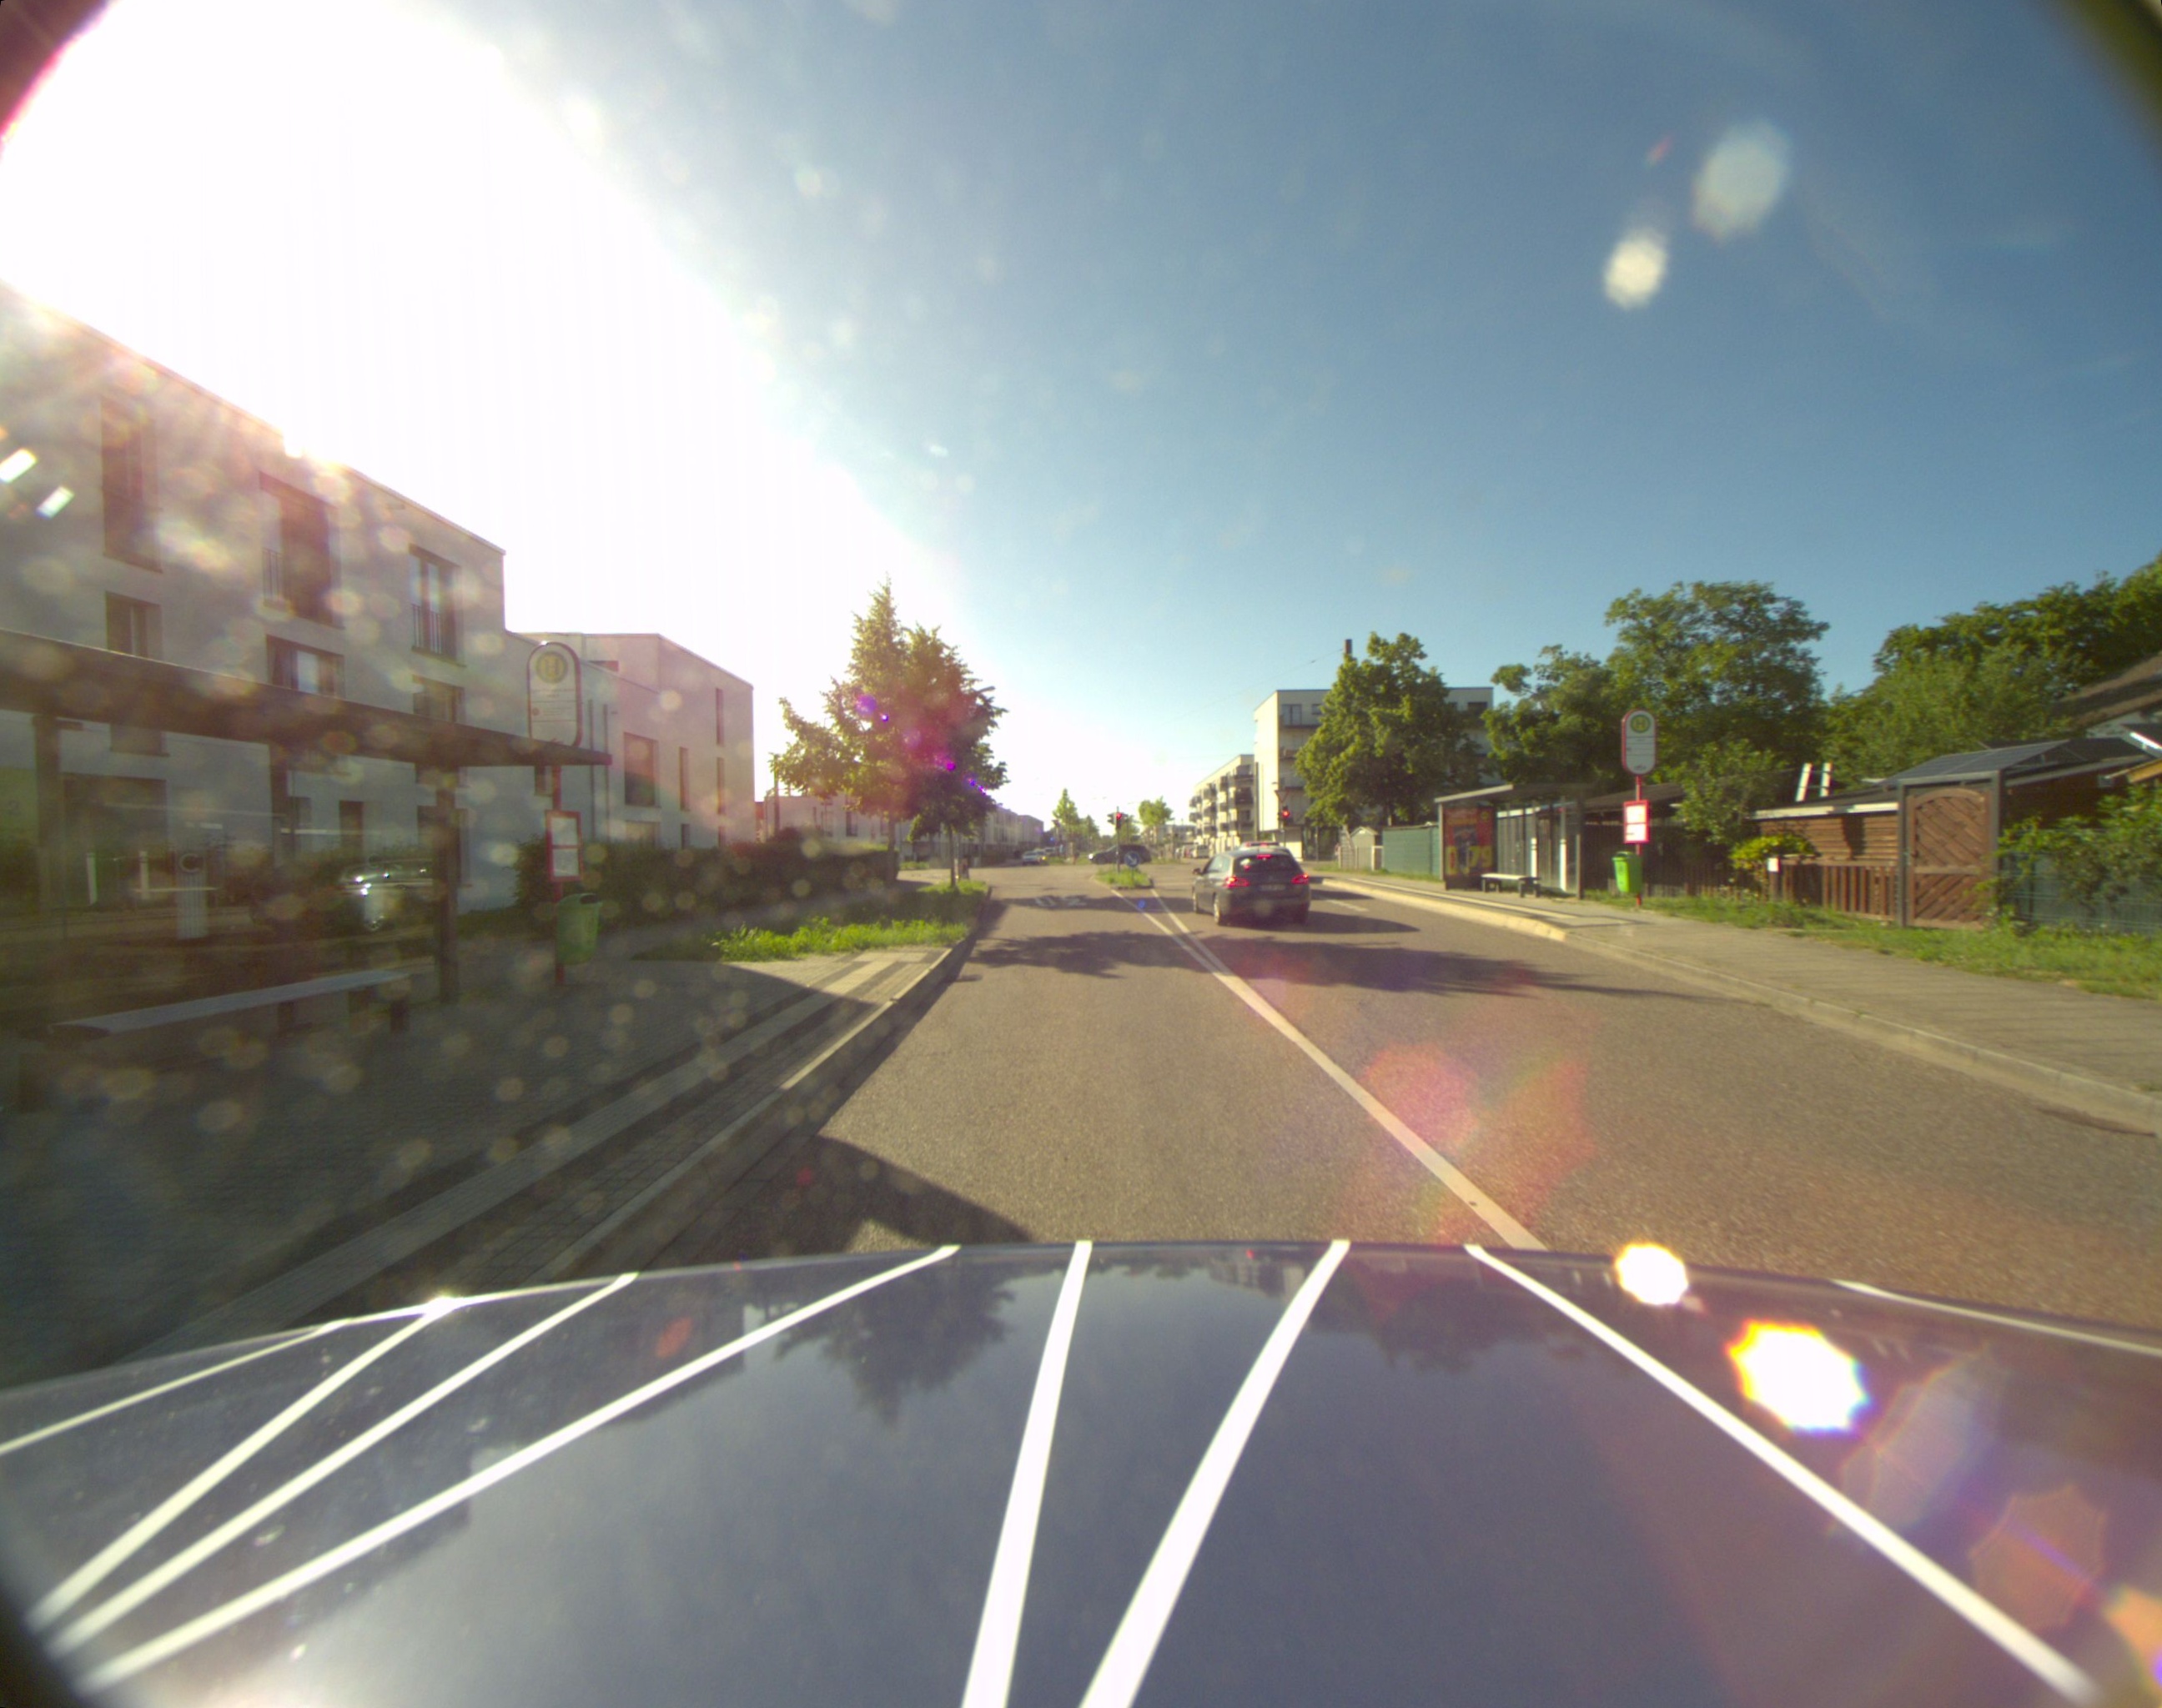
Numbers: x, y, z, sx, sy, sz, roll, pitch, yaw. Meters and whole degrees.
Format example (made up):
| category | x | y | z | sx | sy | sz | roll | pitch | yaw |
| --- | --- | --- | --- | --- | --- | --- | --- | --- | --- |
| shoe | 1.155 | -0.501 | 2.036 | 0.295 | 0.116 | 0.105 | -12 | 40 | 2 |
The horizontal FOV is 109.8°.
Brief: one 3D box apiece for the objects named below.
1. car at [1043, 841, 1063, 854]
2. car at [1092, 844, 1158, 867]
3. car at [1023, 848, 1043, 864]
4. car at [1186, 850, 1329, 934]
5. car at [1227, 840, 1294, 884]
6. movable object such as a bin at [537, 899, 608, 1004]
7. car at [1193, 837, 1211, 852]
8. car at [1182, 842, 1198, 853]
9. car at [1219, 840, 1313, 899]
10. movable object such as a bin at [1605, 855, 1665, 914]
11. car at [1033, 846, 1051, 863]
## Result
| category | x | y | z | sx | sy | sz | roll | pitch | yaw |
| --- | --- | --- | --- | --- | --- | --- | --- | --- | --- |
| car | -4.252 | -0.967 | 116.296 | 1.996 | 2.002 | 4.004 | 0 | 1 | 15 |
| car | 3.509 | 0.143 | 61.048 | 5.194 | 1.727 | 2.000 | -1 | 1 | 2 |
| car | -5.451 | 0.193 | 86.499 | 2.008 | 1.655 | 3.999 | -1 | 1 | 0 |
| car | 3.553 | 0.690 | 16.181 | 1.998 | 1.435 | 4.450 | -2 | 1 | 0 |
| car | 7.054 | 0.265 | 30.294 | 1.944 | 1.579 | 4.181 | -1 | 1 | 4 |
| movable object such as a bin | -5.269 | 0.991 | 7.894 | 0.370 | 1.010 | 0.599 | -1 | 1 | -9 |
| car | 16.822 | -1.355 | 105.735 | 1.998 | 2.003 | 3.999 | 0 | 3 | 4 |
| car | 17.489 | -1.084 | 122.051 | 1.998 | 1.545 | 3.999 | 0 | 3 | 2 |
| car | 5.568 | 0.388 | 23.437 | 2.214 | 1.582 | 4.535 | -1 | 1 | 6 |
| movable object such as a bin | 9.837 | 0.531 | 13.504 | 0.594 | 0.962 | 0.558 | -5 | 1 | 4 |
| car | -4.845 | 0.067 | 94.144 | 1.999 | 2.002 | 3.999 | -1 | 1 | 0 |
